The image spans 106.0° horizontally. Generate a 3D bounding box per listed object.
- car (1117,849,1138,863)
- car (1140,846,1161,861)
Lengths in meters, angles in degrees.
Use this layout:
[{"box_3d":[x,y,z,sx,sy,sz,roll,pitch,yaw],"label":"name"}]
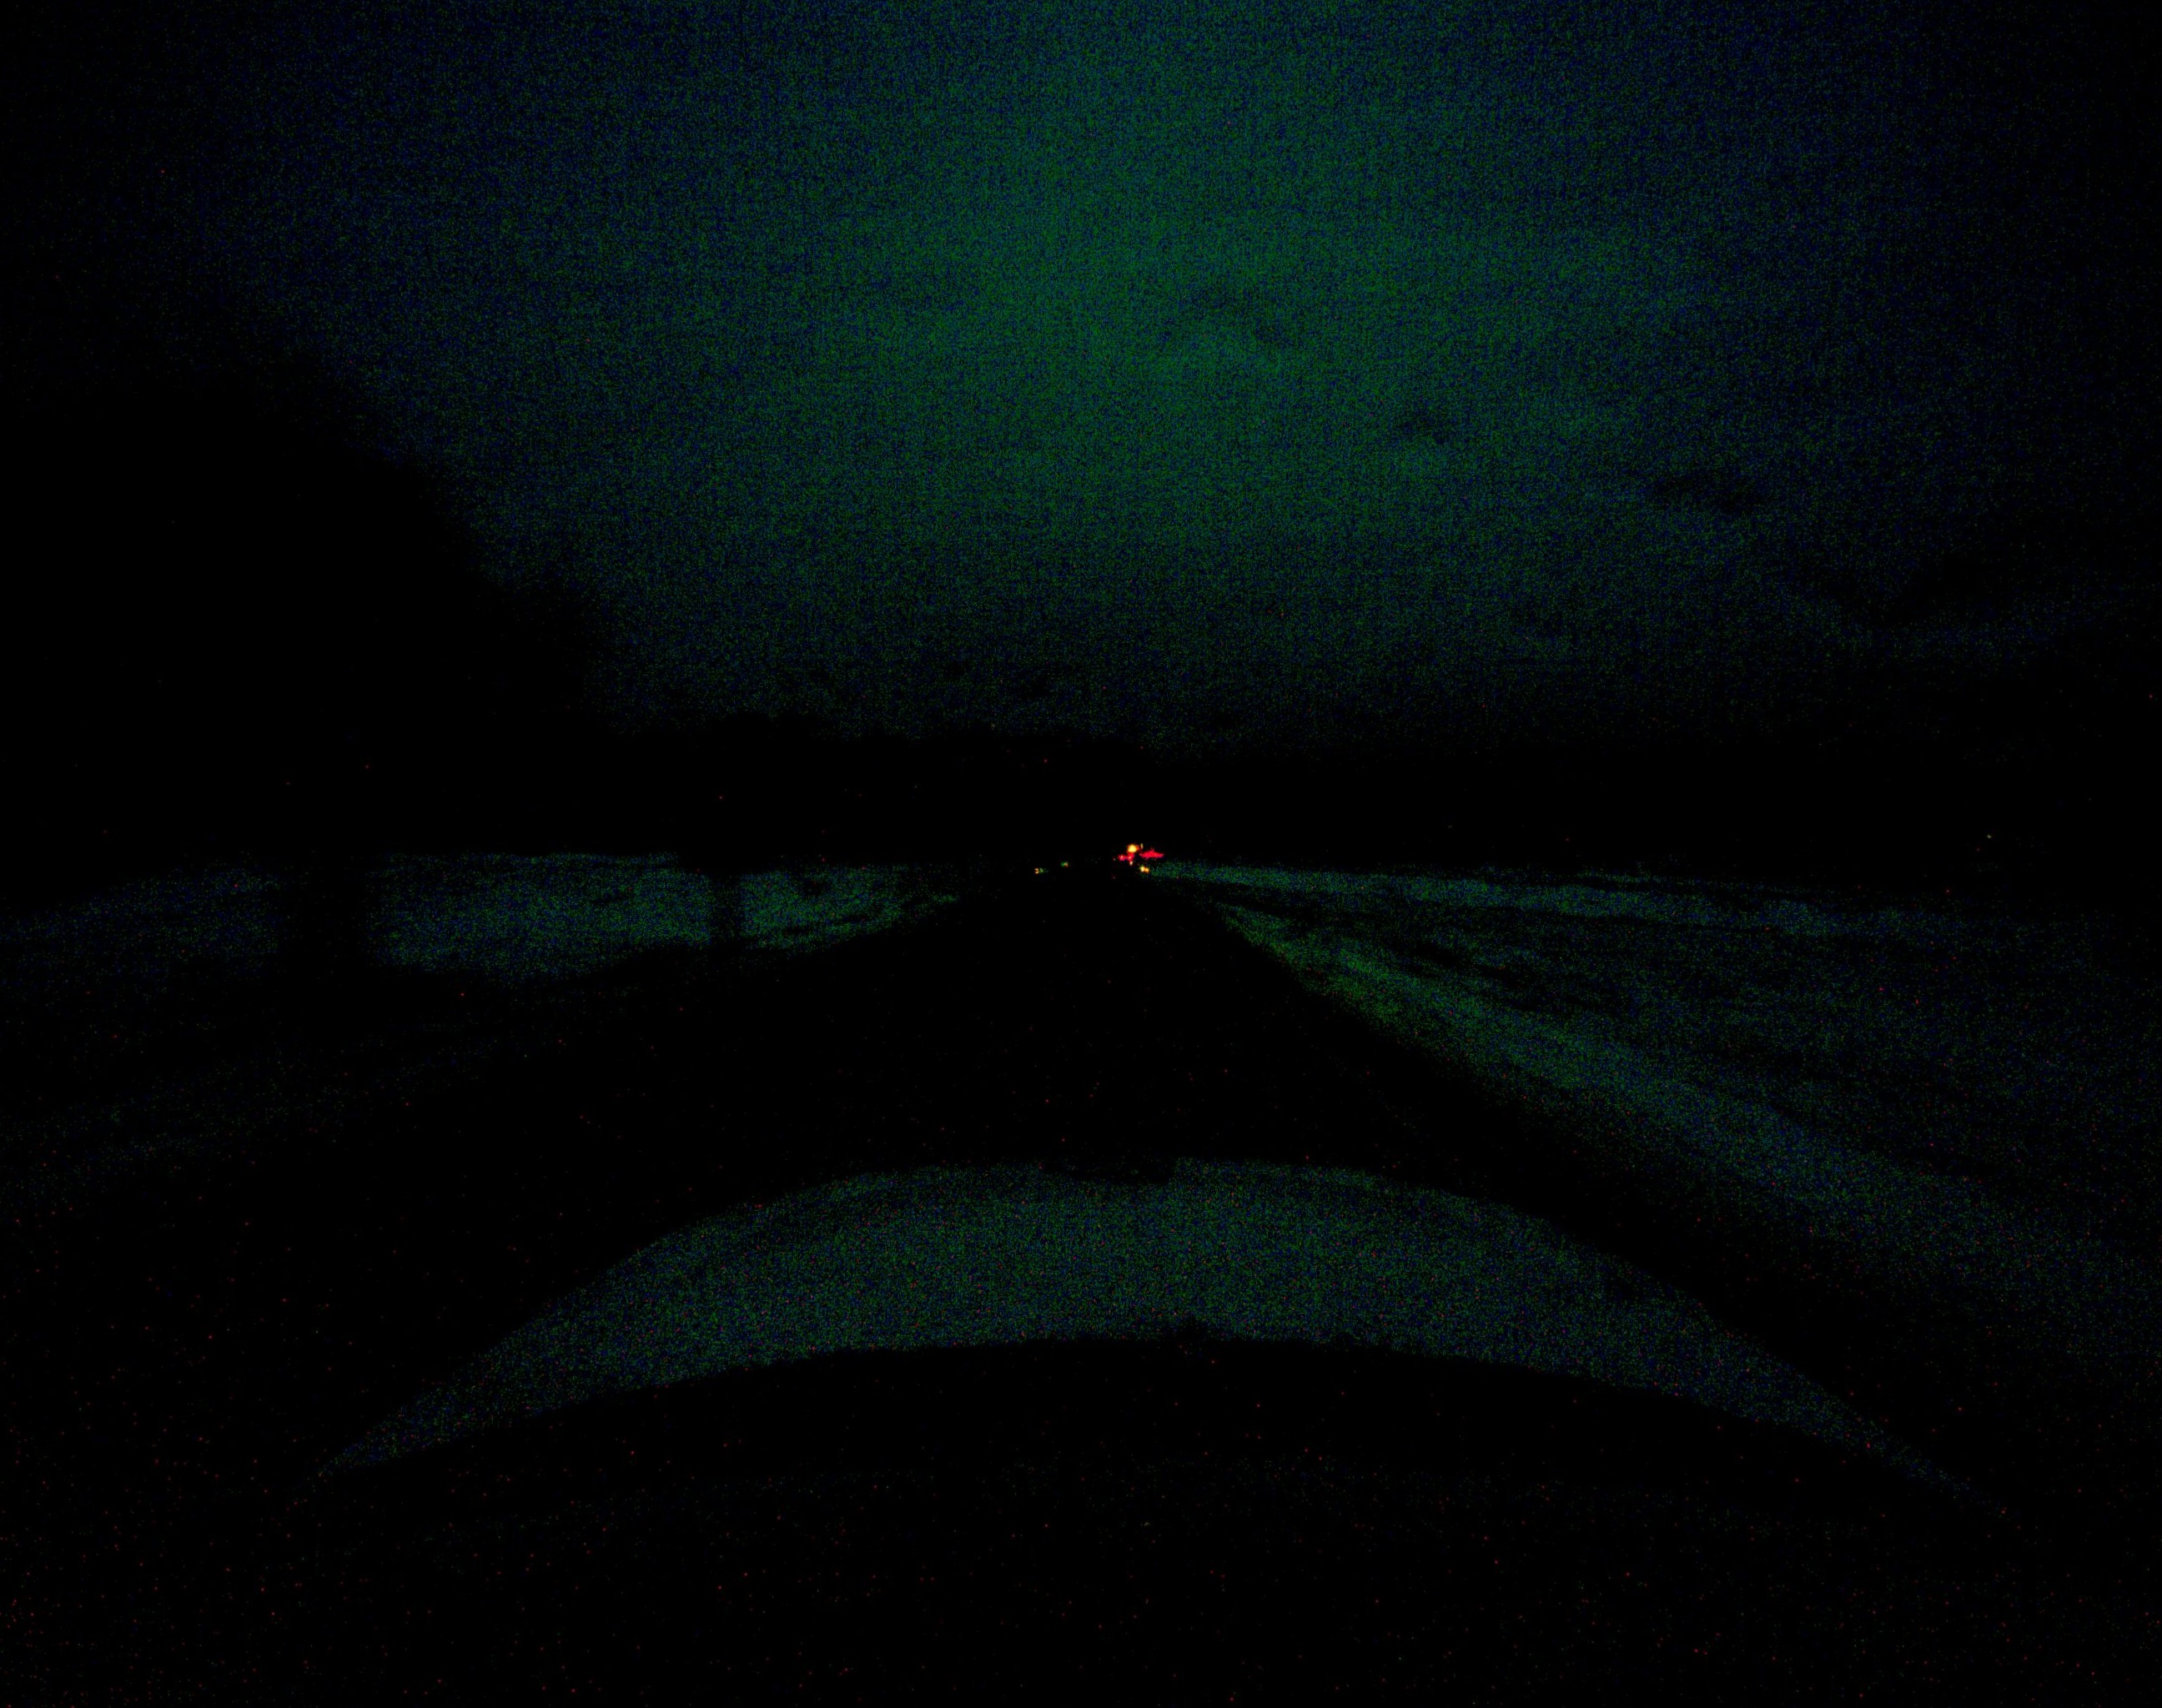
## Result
[{"box_3d":[7.132,0.300,124.673,1.976,2.051,4.021,1,1,22],"label":"car"},{"box_3d":[12.706,-0.086,149.563,2.232,2.645,5.035,0,0,25],"label":"car"}]
